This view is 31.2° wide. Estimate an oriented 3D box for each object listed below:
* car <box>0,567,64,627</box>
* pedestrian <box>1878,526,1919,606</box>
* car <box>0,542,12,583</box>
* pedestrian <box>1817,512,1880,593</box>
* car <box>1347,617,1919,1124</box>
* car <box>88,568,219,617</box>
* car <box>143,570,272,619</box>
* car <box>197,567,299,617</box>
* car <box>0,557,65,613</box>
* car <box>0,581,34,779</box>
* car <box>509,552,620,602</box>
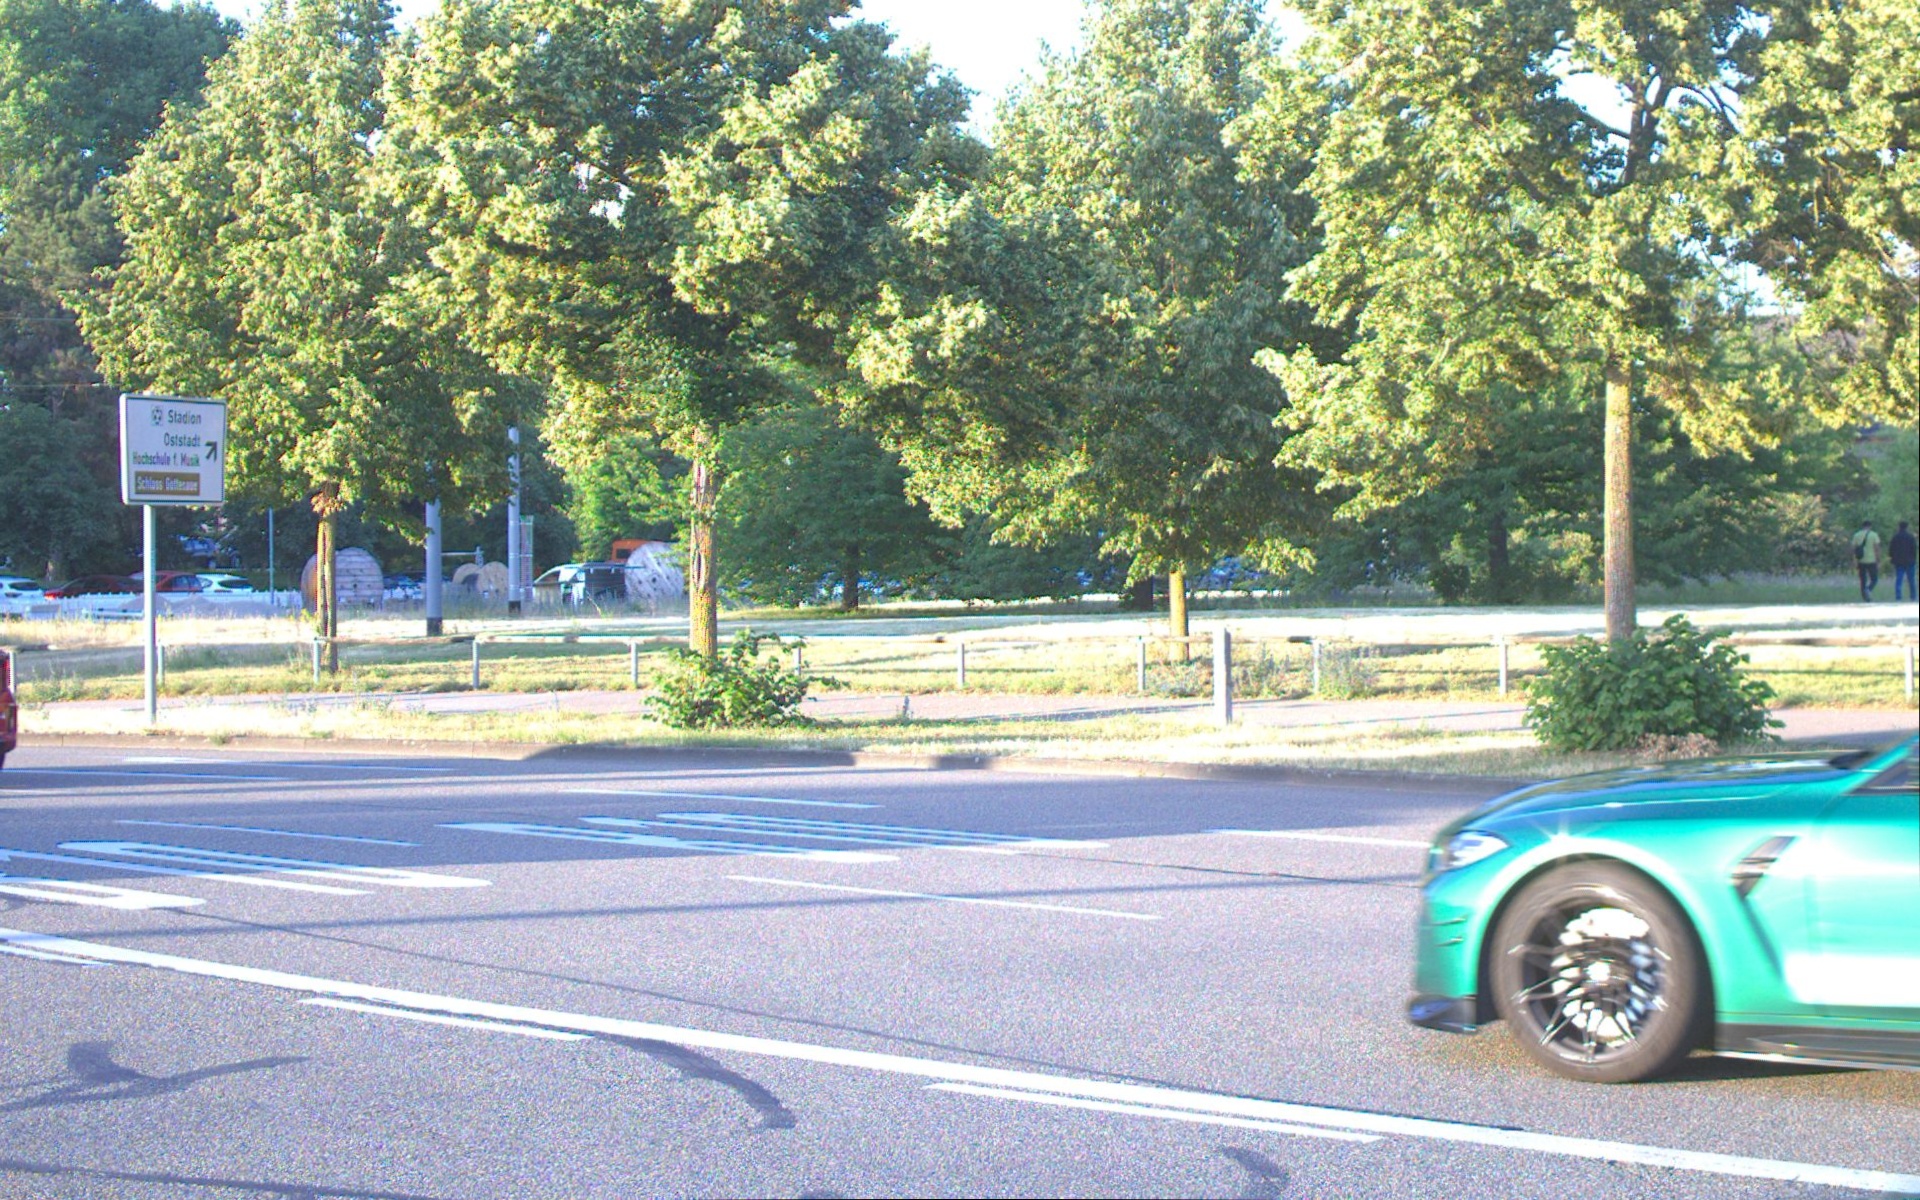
[{"bbox_3d":[-33.139,-0.094,117.682,4.582,2.007,2.001,-1,1,-9],"label":"car"},{"bbox_3d":[19.241,-0.698,69.645,1.069,1.612,0.910,0,1,2],"label":"pedestrian"},{"bbox_3d":[-42.401,-1.578,145.373,3.988,1.700,2.000,0,1,7],"label":"car"},{"bbox_3d":[18.013,-0.967,69.729,1.069,1.612,0.910,0,1,2],"label":"pedestrian"},{"bbox_3d":[3.723,0.773,10.174,4.728,1.366,1.996,0,1,32],"label":"car"},{"bbox_3d":[-26.766,-0.261,114.102,3.994,1.598,1.996,0,1,33],"label":"car"},{"bbox_3d":[-25.363,-0.205,115.832,3.994,1.598,1.996,0,1,33],"label":"car"},{"bbox_3d":[-26.809,-0.321,129.311,1.994,1.746,4.597,-1,2,-37],"label":"car"},{"bbox_3d":[-35.223,-0.551,125.816,4.582,2.007,2.001,-1,1,-9],"label":"car"},{"bbox_3d":[-9.012,0.614,26.462,3.485,1.494,1.640,0,1,29],"label":"car"},{"bbox_3d":[-13.220,-0.775,114.889,1.734,1.612,3.998,-1,1,-41],"label":"car"}]
